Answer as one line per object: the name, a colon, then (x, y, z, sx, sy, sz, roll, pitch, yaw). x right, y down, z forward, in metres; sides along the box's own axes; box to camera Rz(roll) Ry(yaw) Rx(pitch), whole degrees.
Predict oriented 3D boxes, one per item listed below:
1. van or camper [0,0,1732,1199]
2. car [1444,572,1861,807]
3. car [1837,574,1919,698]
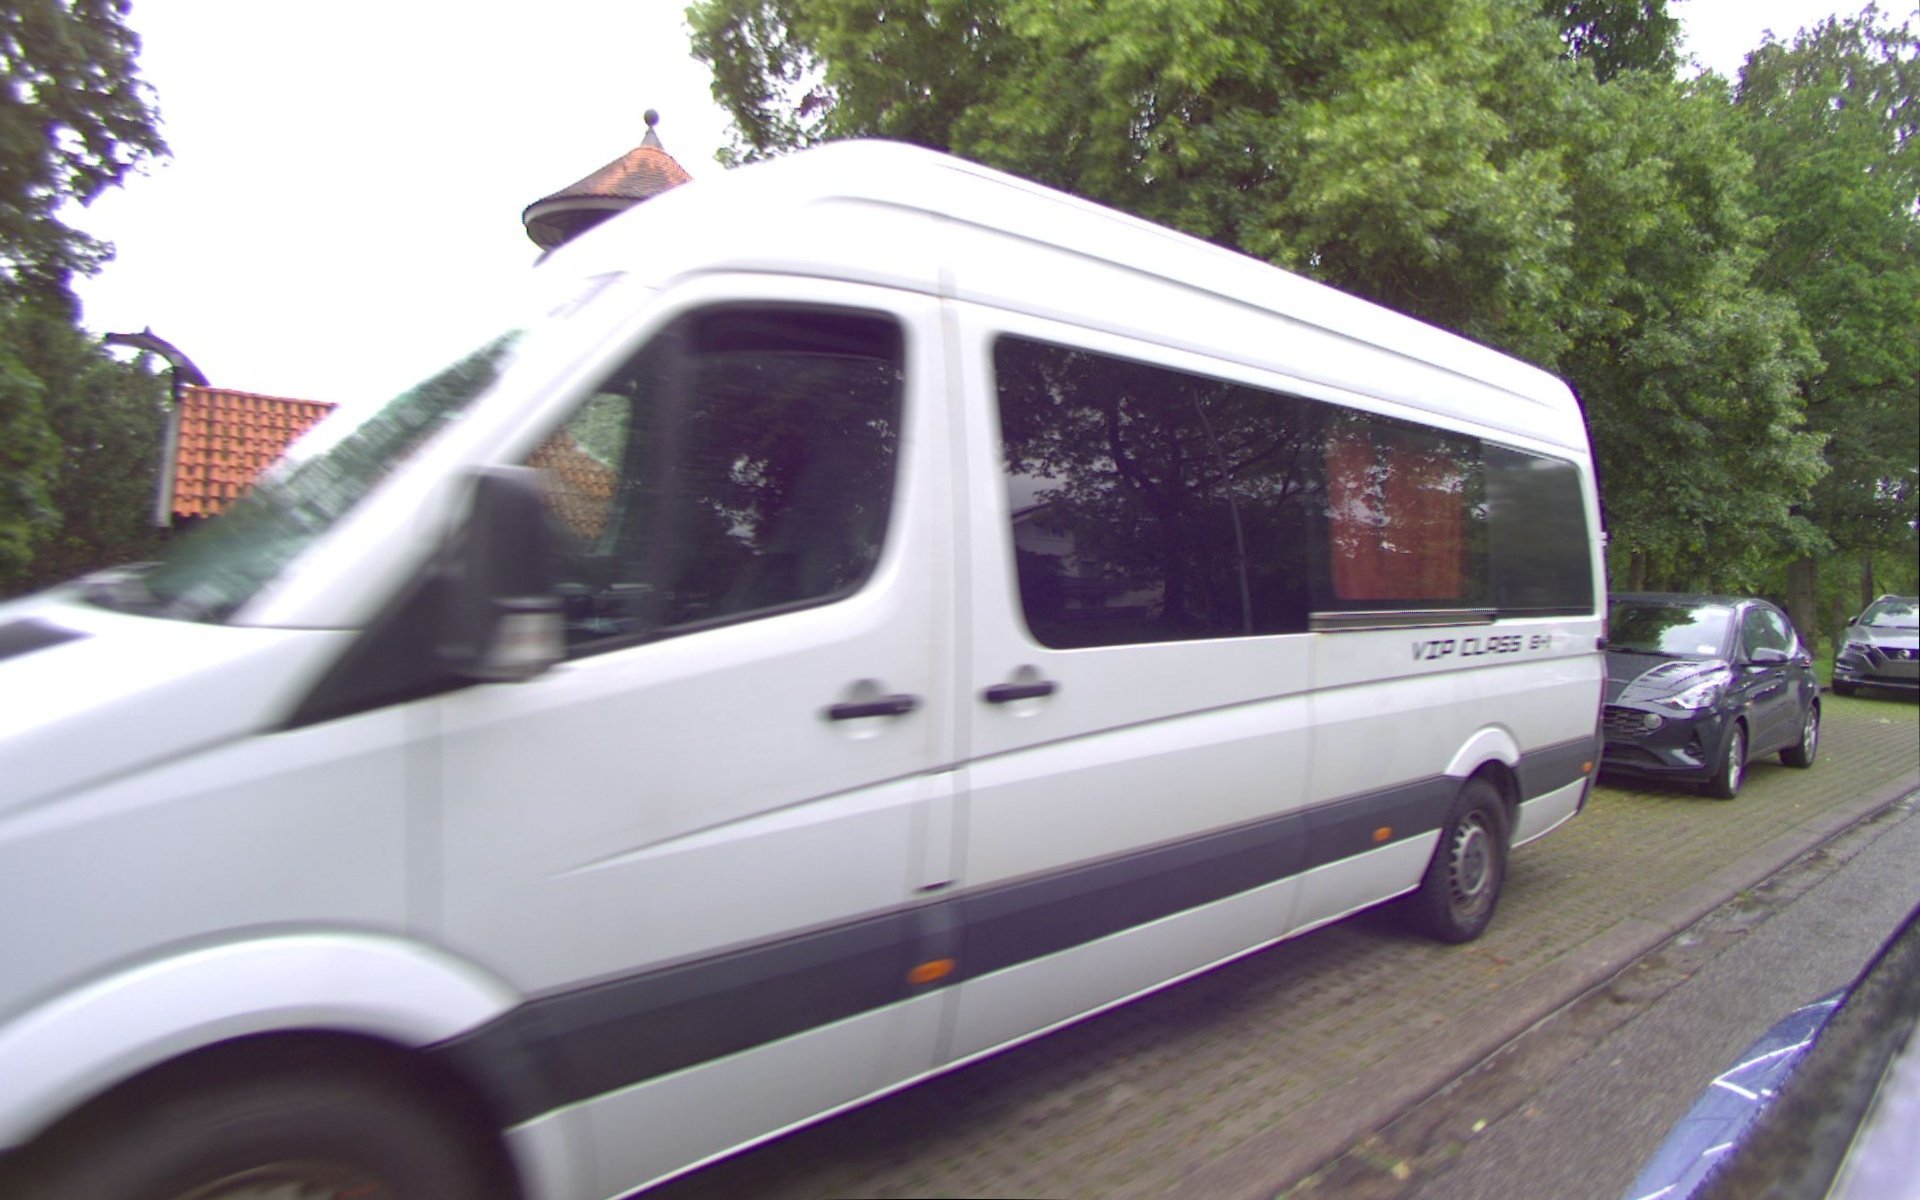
van or camper: (0.823, 0.058, 4.237, 8.287, 2.614, 2.021, 2, 4, -41)
car: (6.012, 0.621, 8.681, 3.655, 1.530, 1.871, 1, 2, -38)
car: (15.376, 0.687, 15.911, 4.185, 1.741, 1.785, 6, -2, -41)
